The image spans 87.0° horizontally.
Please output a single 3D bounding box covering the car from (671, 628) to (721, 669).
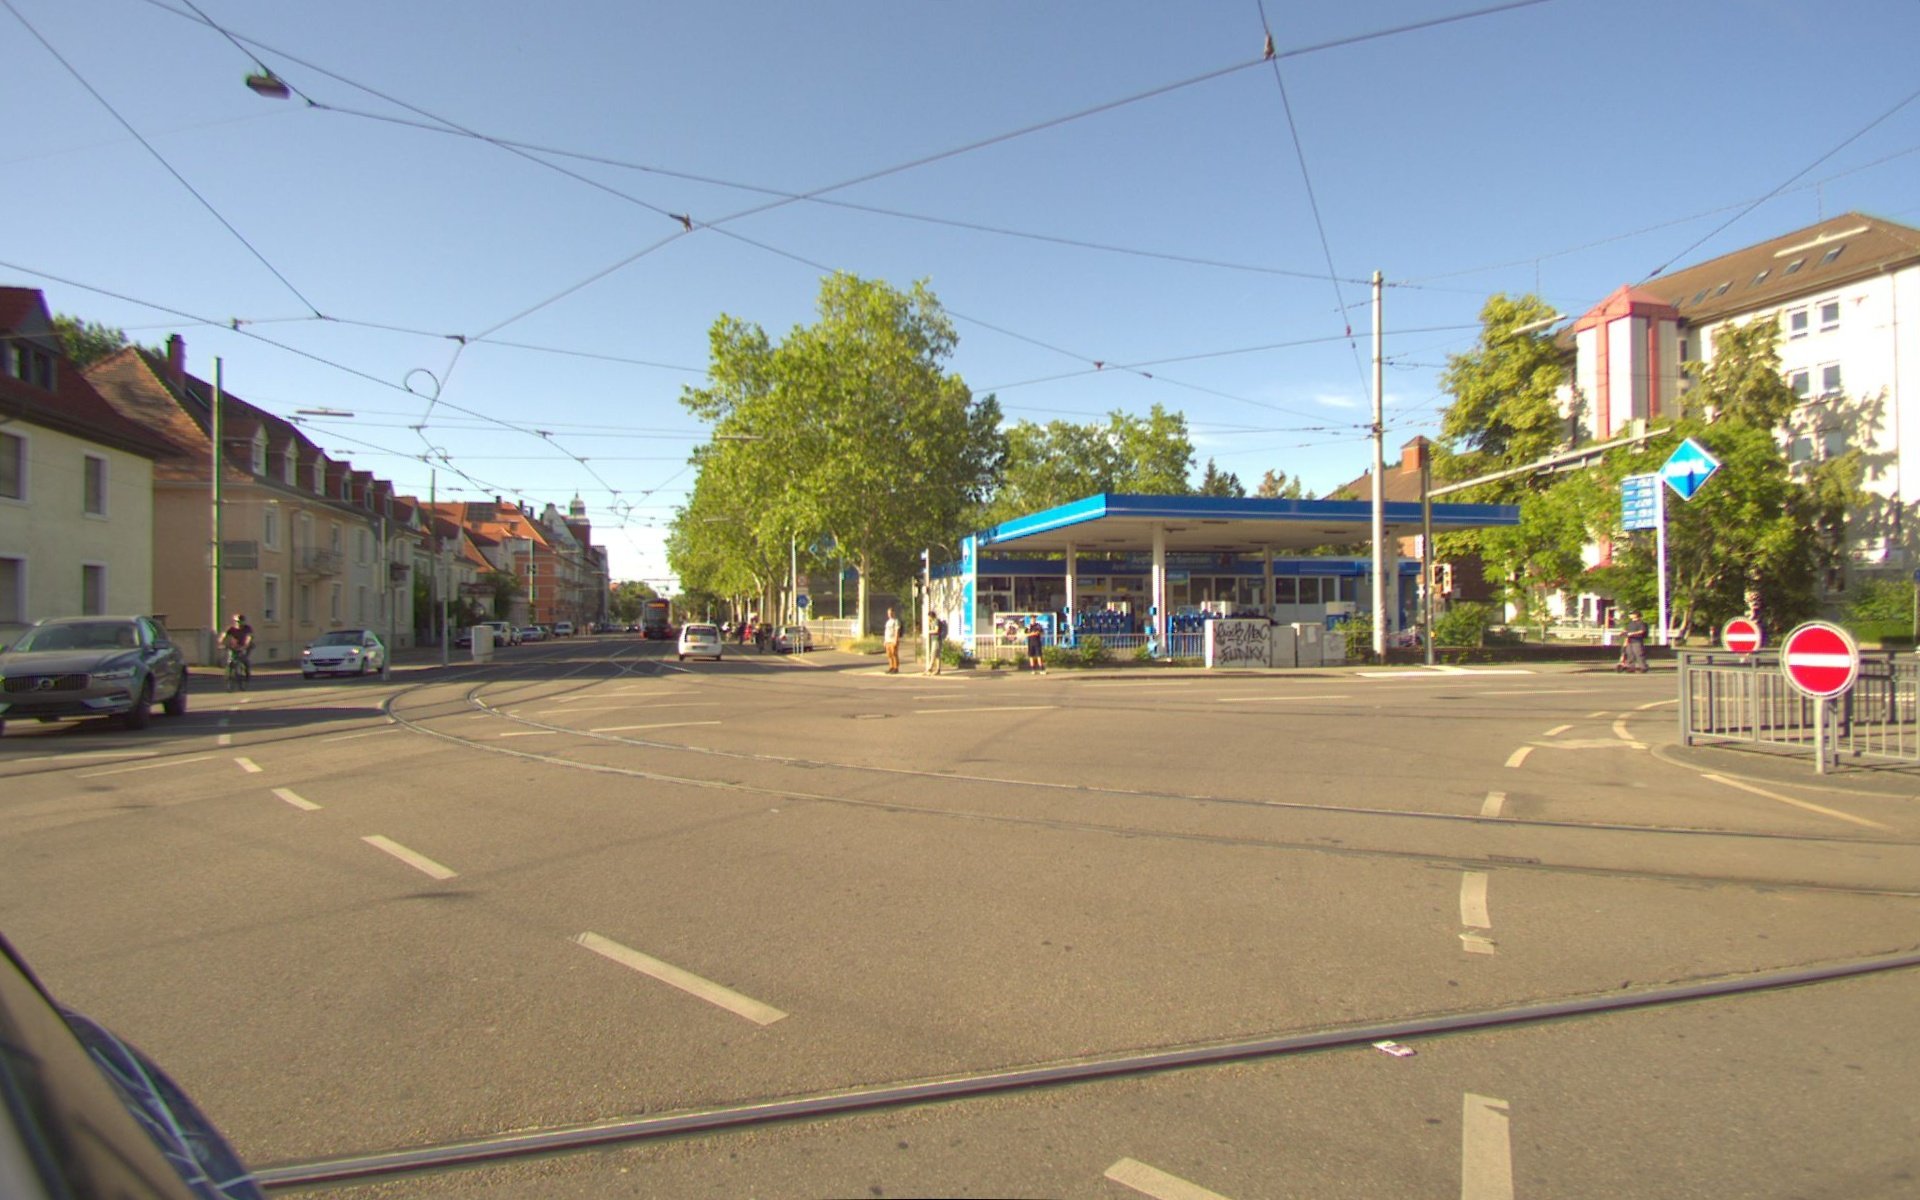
[{"bbox_3d":[-10.487,1.876,40.055,1.694,1.508,3.594,0,-2,-18],"label":"car"}]

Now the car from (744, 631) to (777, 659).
[{"bbox_3d":[-11.599,2.607,58.950,1.752,1.435,3.318,-4,-1,-11],"label":"car"}]

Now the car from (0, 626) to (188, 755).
[{"bbox_3d":[-13.076,1.233,15.101,1.886,1.643,4.516,0,-2,-30],"label":"car"}]

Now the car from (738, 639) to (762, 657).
[{"bbox_3d":[-18.211,4.129,87.636,1.852,1.497,4.010,0,-2,-14],"label":"car"}]

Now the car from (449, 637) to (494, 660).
[{"bbox_3d":[-33.505,3.328,69.558,1.852,1.497,4.009,0,-2,-11],"label":"car"}]

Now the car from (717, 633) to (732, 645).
[{"bbox_3d":[-31.799,5.194,136.560,1.852,1.563,4.010,0,-2,-14],"label":"car"}]

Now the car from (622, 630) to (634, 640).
[{"bbox_3d":[-54.159,5.713,165.079,1.851,1.497,4.012,0,-2,-17],"label":"car"}]

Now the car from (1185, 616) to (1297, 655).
[{"bbox_3d":[11.614,1.457,41.901,4.147,1.497,1.722,0,-2,-15],"label":"car"}]

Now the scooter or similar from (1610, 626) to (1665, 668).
[{"bbox_3d":[19.917,1.371,29.759,1.451,1.191,0.466,0,-2,-14],"label":"scooter or similar"}]

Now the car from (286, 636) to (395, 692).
[{"bbox_3d":[-19.998,2.009,32.893,1.886,1.643,4.515,0,-2,-16],"label":"car"}]

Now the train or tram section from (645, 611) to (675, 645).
[{"bbox_3d":[-33.836,3.199,114.496,3.013,3.640,12.148,0,-2,-15],"label":"train or tram section"}]

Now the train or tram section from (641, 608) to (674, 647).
[{"bbox_3d":[-30.565,2.808,102.634,3.013,3.640,12.537,0,-2,-15],"label":"train or tram section"}]

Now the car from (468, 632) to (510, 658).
[{"bbox_3d":[-35.088,3.296,75.460,1.902,1.859,5.327,0,-2,-14],"label":"car"}]

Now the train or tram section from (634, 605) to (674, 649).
[{"bbox_3d":[-27.319,2.431,90.694,3.013,3.640,12.148,0,-2,-15],"label":"train or tram section"}]

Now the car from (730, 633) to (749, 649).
[{"bbox_3d":[-22.432,4.171,102.898,1.852,1.588,4.010,0,-2,-14],"label":"car"}]

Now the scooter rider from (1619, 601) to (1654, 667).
[{"bbox_3d":[19.901,1.007,29.768,0.680,1.915,0.466,0,-2,-14],"label":"scooter rider"}]

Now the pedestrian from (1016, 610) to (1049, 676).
[{"bbox_3d":[1.970,1.171,27.696,0.737,1.742,0.734,-4,-2,0],"label":"pedestrian"}]

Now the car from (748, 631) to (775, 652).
[{"bbox_3d":[-15.438,3.197,78.588,1.852,1.497,4.010,0,-2,-14],"label":"car"}]

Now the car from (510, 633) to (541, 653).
[{"bbox_3d":[-39.915,3.899,93.086,1.902,1.773,5.327,0,-2,-14],"label":"car"}]

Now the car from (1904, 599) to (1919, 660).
[{"bbox_3d":[26.407,0.724,25.605,3.933,1.530,1.747,0,-2,-14],"label":"car"}]

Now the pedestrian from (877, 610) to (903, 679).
[{"bbox_3d":[-2.019,1.271,29.096,0.621,1.940,0.586,0,-2,-15],"label":"pedestrian"}]

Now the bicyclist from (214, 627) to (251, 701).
[{"bbox_3d":[-17.344,1.517,24.141,0.590,1.732,0.665,0,-2,-24],"label":"bicyclist"}]

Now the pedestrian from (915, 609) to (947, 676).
[{"bbox_3d":[-0.798,1.177,28.130,0.734,1.815,0.739,-1,-2,9],"label":"pedestrian"}]

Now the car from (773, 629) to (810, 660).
[{"bbox_3d":[-8.841,2.318,52.907,1.752,1.435,3.546,-4,-1,-11],"label":"car"}]

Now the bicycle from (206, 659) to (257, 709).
[{"bbox_3d":[-17.343,1.977,24.133,0.590,1.064,1.996,0,-2,-25],"label":"bicycle"}]
